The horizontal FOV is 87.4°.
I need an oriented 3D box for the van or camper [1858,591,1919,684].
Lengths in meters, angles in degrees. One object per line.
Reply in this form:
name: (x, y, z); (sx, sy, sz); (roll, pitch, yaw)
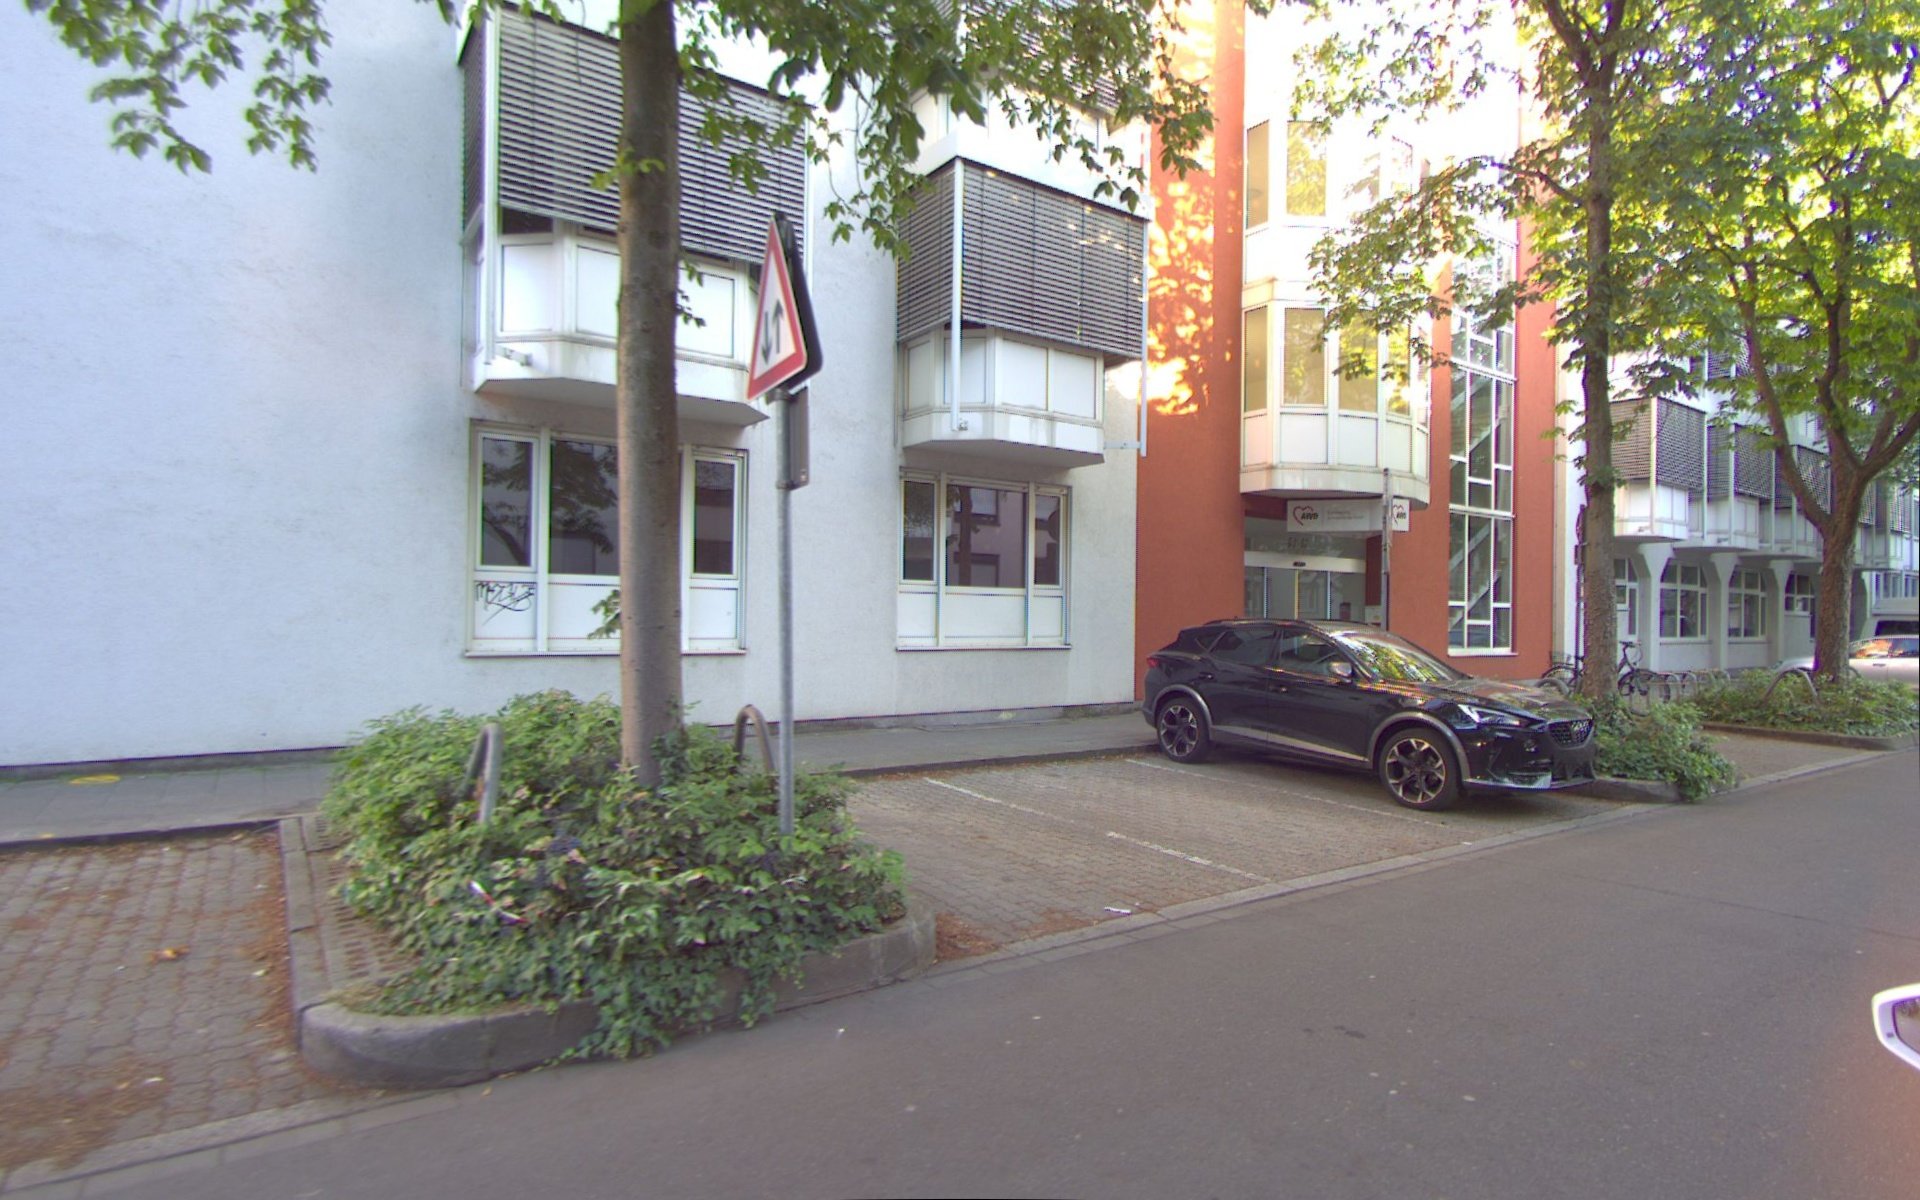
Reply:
van or camper: (27.276, 1.028, 26.812); (1.980, 2.511, 4.634); (1, -1, -35)

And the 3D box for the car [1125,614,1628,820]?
car: (3.765, 0.919, 9.847); (1.767, 1.537, 4.327); (1, -1, -34)

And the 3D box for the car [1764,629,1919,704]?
car: (20.446, 1.442, 22.145); (1.766, 1.537, 3.944); (1, -1, -33)
